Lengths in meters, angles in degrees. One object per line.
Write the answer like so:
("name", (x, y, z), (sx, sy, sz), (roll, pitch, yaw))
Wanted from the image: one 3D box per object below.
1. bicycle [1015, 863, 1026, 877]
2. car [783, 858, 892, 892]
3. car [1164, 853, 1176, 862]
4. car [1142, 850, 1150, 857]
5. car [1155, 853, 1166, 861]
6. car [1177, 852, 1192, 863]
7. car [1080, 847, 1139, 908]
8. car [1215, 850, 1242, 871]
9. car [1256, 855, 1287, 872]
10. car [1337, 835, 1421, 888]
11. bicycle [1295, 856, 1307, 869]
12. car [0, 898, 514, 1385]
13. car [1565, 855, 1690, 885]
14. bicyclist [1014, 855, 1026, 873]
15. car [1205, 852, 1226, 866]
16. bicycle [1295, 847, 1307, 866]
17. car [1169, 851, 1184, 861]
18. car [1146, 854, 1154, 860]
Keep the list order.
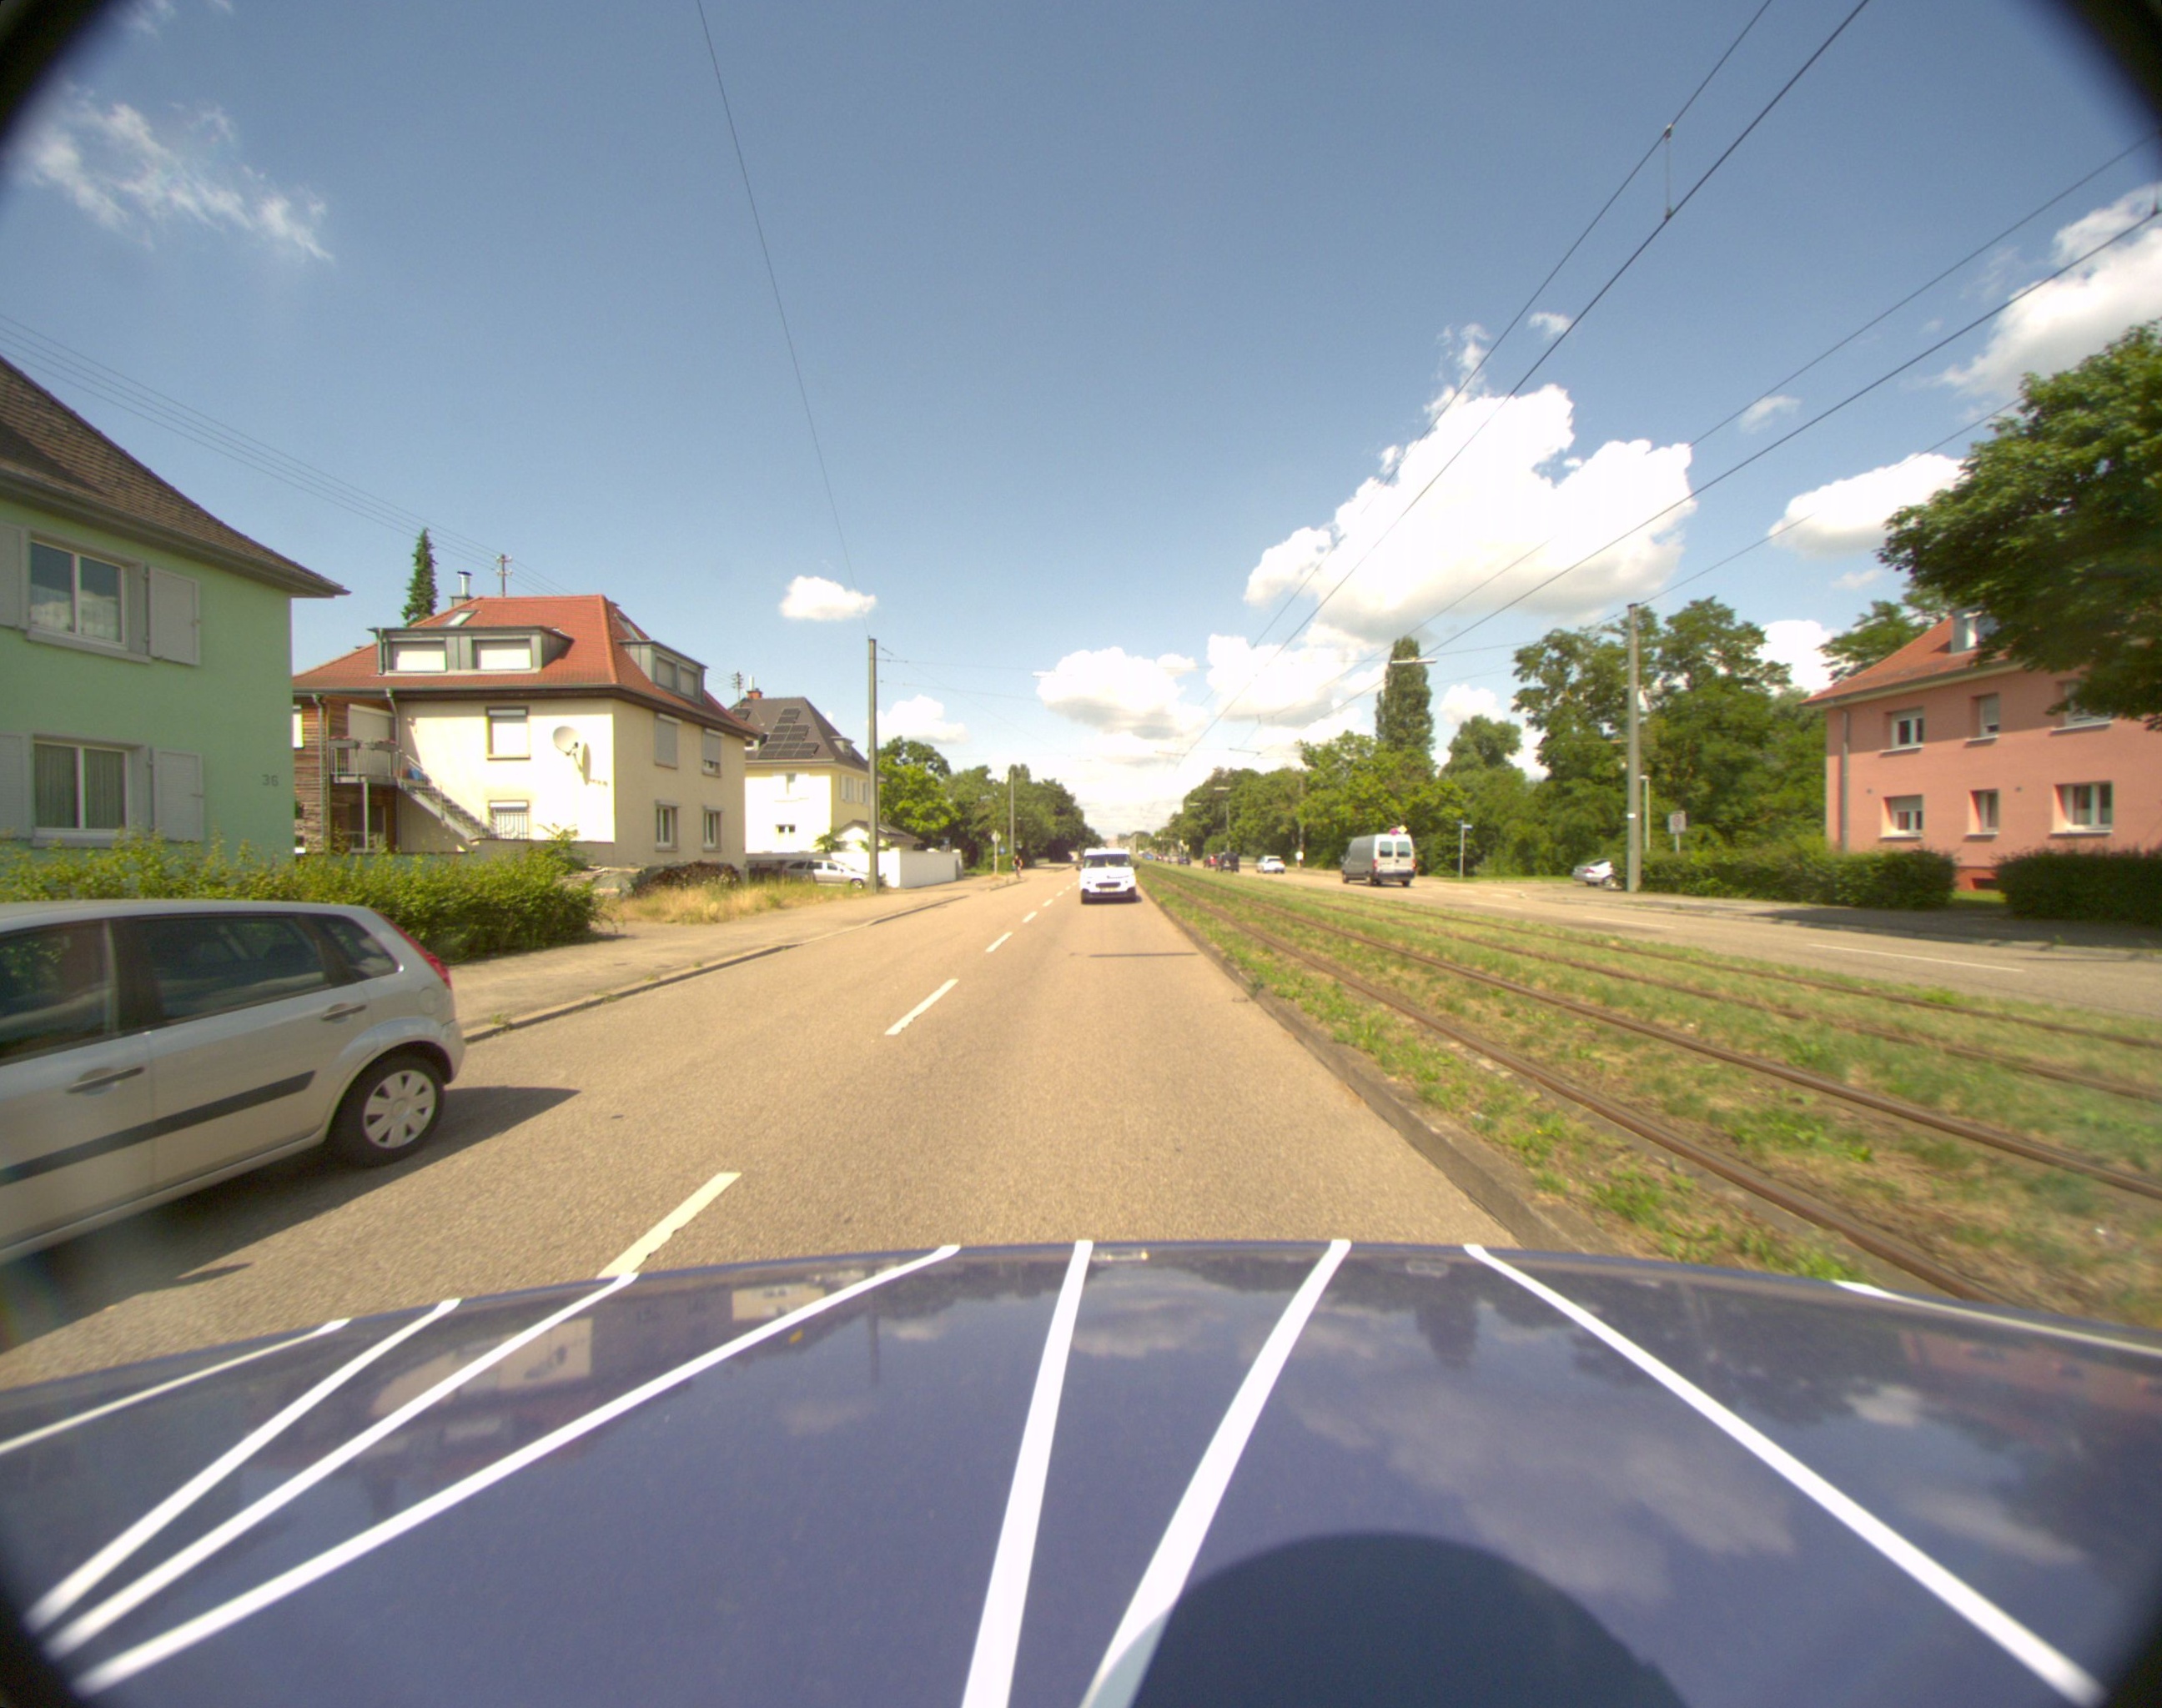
("bicycle", (-4.590, 1.190, 57.717), (0.556, 1.059, 1.524), (-1, 0, 8))
("car", (-11.228, 0.947, 35.270), (4.459, 1.452, 1.764), (1, 0, 2))
("car", (16.723, 0.613, 142.848), (1.921, 1.642, 4.277), (-1, 0, 3))
("car", (20.189, -0.197, 236.180), (1.998, 2.002, 3.999), (-2, 1, 0))
("car", (16.695, 0.537, 160.072), (2.120, 1.642, 4.277), (-1, 0, 3))
("car", (14.526, 0.482, 106.863), (1.731, 1.386, 4.277), (-1, 0, 3))
("car", (0.893, 0.716, 25.795), (1.777, 1.850, 4.375), (-2, 0, 0))
("car", (13.068, 0.546, 67.516), (1.689, 1.736, 4.228), (-1, 0, 2))
("car", (16.088, 0.789, 64.417), (1.689, 1.422, 4.277), (-1, 0, 2))
("car", (14.758, 0.342, 38.084), (2.037, 2.422, 5.778), (1, 0, 1))
("bicycle", (20.056, 0.775, 69.274), (0.643, 1.181, 1.957), (-1, 0, 3))
("car", (-4.514, 1.070, 2.702), (1.741, 1.481, 4.094), (-2, 1, 2))
("car", (26.250, 0.756, 36.640), (4.465, 1.397, 2.001), (-1, 0, 9))
("bicyclist", (-4.630, 0.784, 57.683), (0.690, 1.345, 0.665), (-1, 1, 8))
("car", (15.470, 0.566, 87.828), (1.731, 1.569, 4.276), (-1, 0, 1))
("bicycle", (20.045, 0.225, 69.196), (0.801, 1.675, 0.952), (-1, 1, 2))
("car", (15.622, 0.274, 124.866), (2.120, 1.642, 4.277), (-1, 0, 3))
("car", (18.889, 0.920, 208.568), (2.120, 1.642, 4.277), (-1, 0, 3))
